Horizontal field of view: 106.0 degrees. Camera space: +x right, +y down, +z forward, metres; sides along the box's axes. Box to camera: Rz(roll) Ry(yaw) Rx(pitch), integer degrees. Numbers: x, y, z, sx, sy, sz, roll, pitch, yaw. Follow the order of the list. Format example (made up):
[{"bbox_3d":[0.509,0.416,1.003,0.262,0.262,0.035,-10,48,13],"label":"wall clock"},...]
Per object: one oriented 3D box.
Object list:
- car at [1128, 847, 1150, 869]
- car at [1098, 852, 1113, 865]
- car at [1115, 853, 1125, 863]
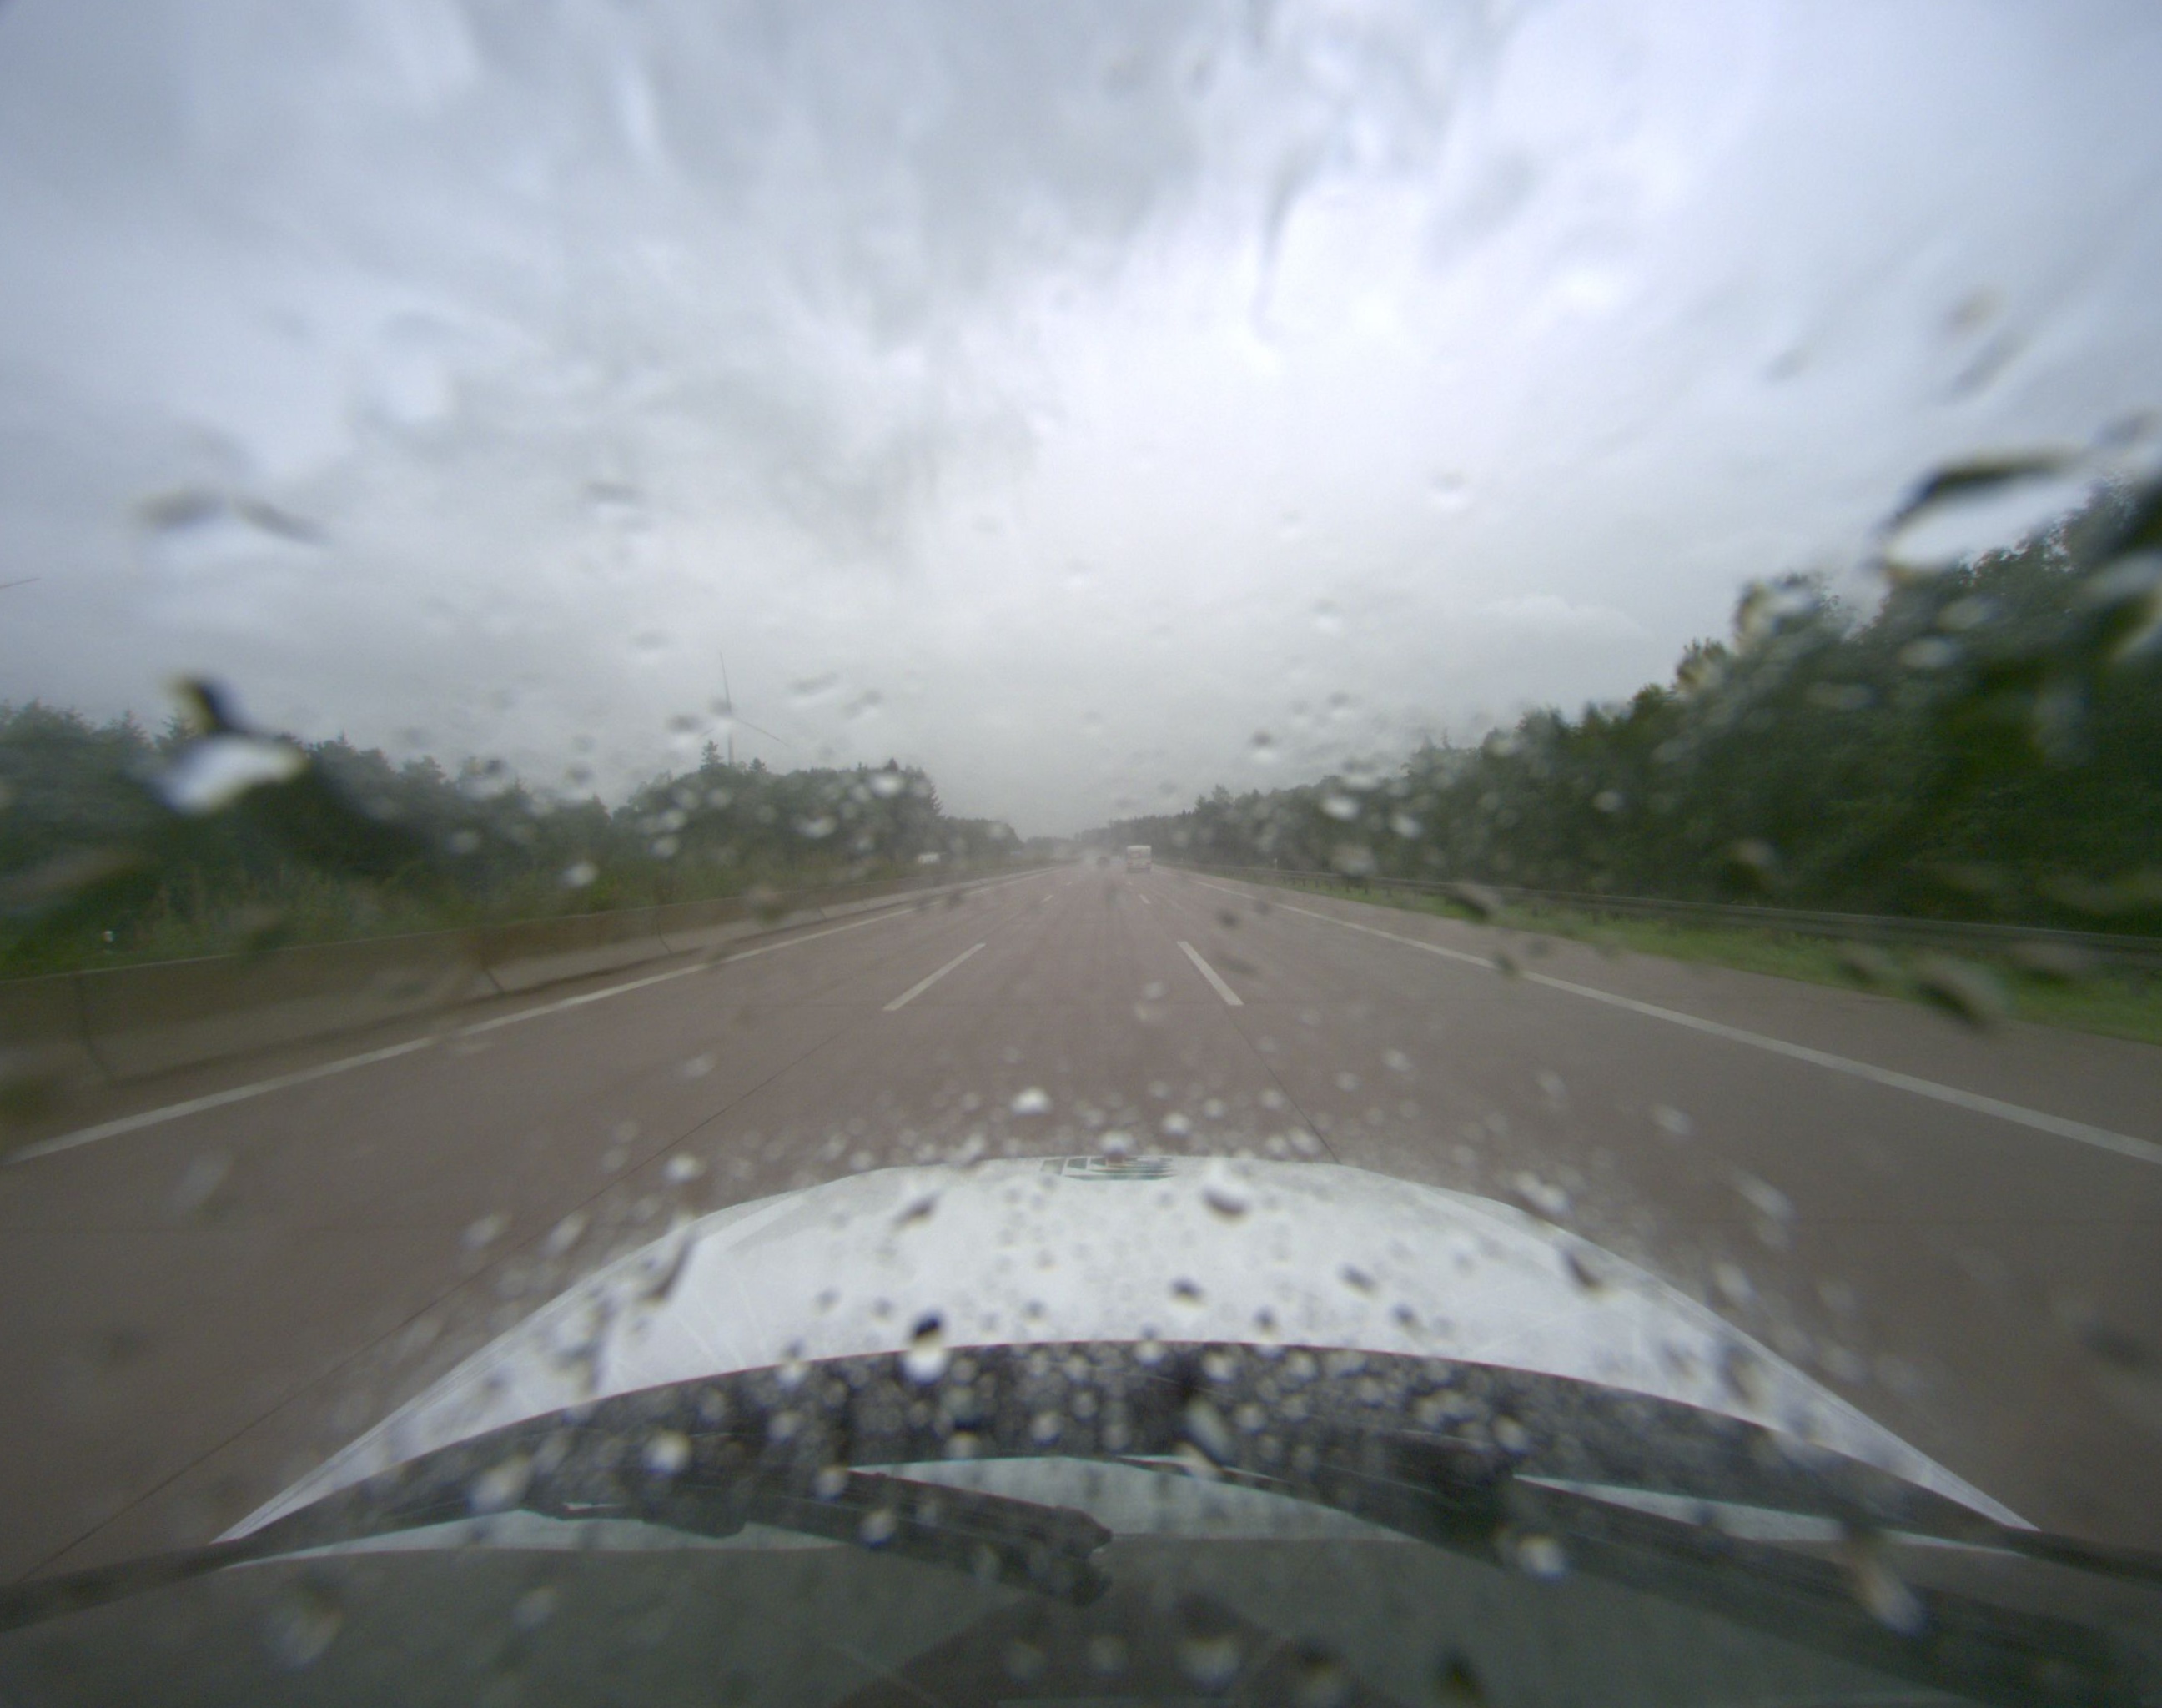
[{"bbox_3d":[5.577,0.396,78.295,2.049,2.000,4.102,-1,0,3],"label":"car"},{"bbox_3d":[3.460,0.641,114.346,1.929,1.729,4.133,-1,0,3],"label":"car"},{"bbox_3d":[8.204,0.783,170.260,1.929,1.981,4.133,-1,0,3],"label":"car"}]
